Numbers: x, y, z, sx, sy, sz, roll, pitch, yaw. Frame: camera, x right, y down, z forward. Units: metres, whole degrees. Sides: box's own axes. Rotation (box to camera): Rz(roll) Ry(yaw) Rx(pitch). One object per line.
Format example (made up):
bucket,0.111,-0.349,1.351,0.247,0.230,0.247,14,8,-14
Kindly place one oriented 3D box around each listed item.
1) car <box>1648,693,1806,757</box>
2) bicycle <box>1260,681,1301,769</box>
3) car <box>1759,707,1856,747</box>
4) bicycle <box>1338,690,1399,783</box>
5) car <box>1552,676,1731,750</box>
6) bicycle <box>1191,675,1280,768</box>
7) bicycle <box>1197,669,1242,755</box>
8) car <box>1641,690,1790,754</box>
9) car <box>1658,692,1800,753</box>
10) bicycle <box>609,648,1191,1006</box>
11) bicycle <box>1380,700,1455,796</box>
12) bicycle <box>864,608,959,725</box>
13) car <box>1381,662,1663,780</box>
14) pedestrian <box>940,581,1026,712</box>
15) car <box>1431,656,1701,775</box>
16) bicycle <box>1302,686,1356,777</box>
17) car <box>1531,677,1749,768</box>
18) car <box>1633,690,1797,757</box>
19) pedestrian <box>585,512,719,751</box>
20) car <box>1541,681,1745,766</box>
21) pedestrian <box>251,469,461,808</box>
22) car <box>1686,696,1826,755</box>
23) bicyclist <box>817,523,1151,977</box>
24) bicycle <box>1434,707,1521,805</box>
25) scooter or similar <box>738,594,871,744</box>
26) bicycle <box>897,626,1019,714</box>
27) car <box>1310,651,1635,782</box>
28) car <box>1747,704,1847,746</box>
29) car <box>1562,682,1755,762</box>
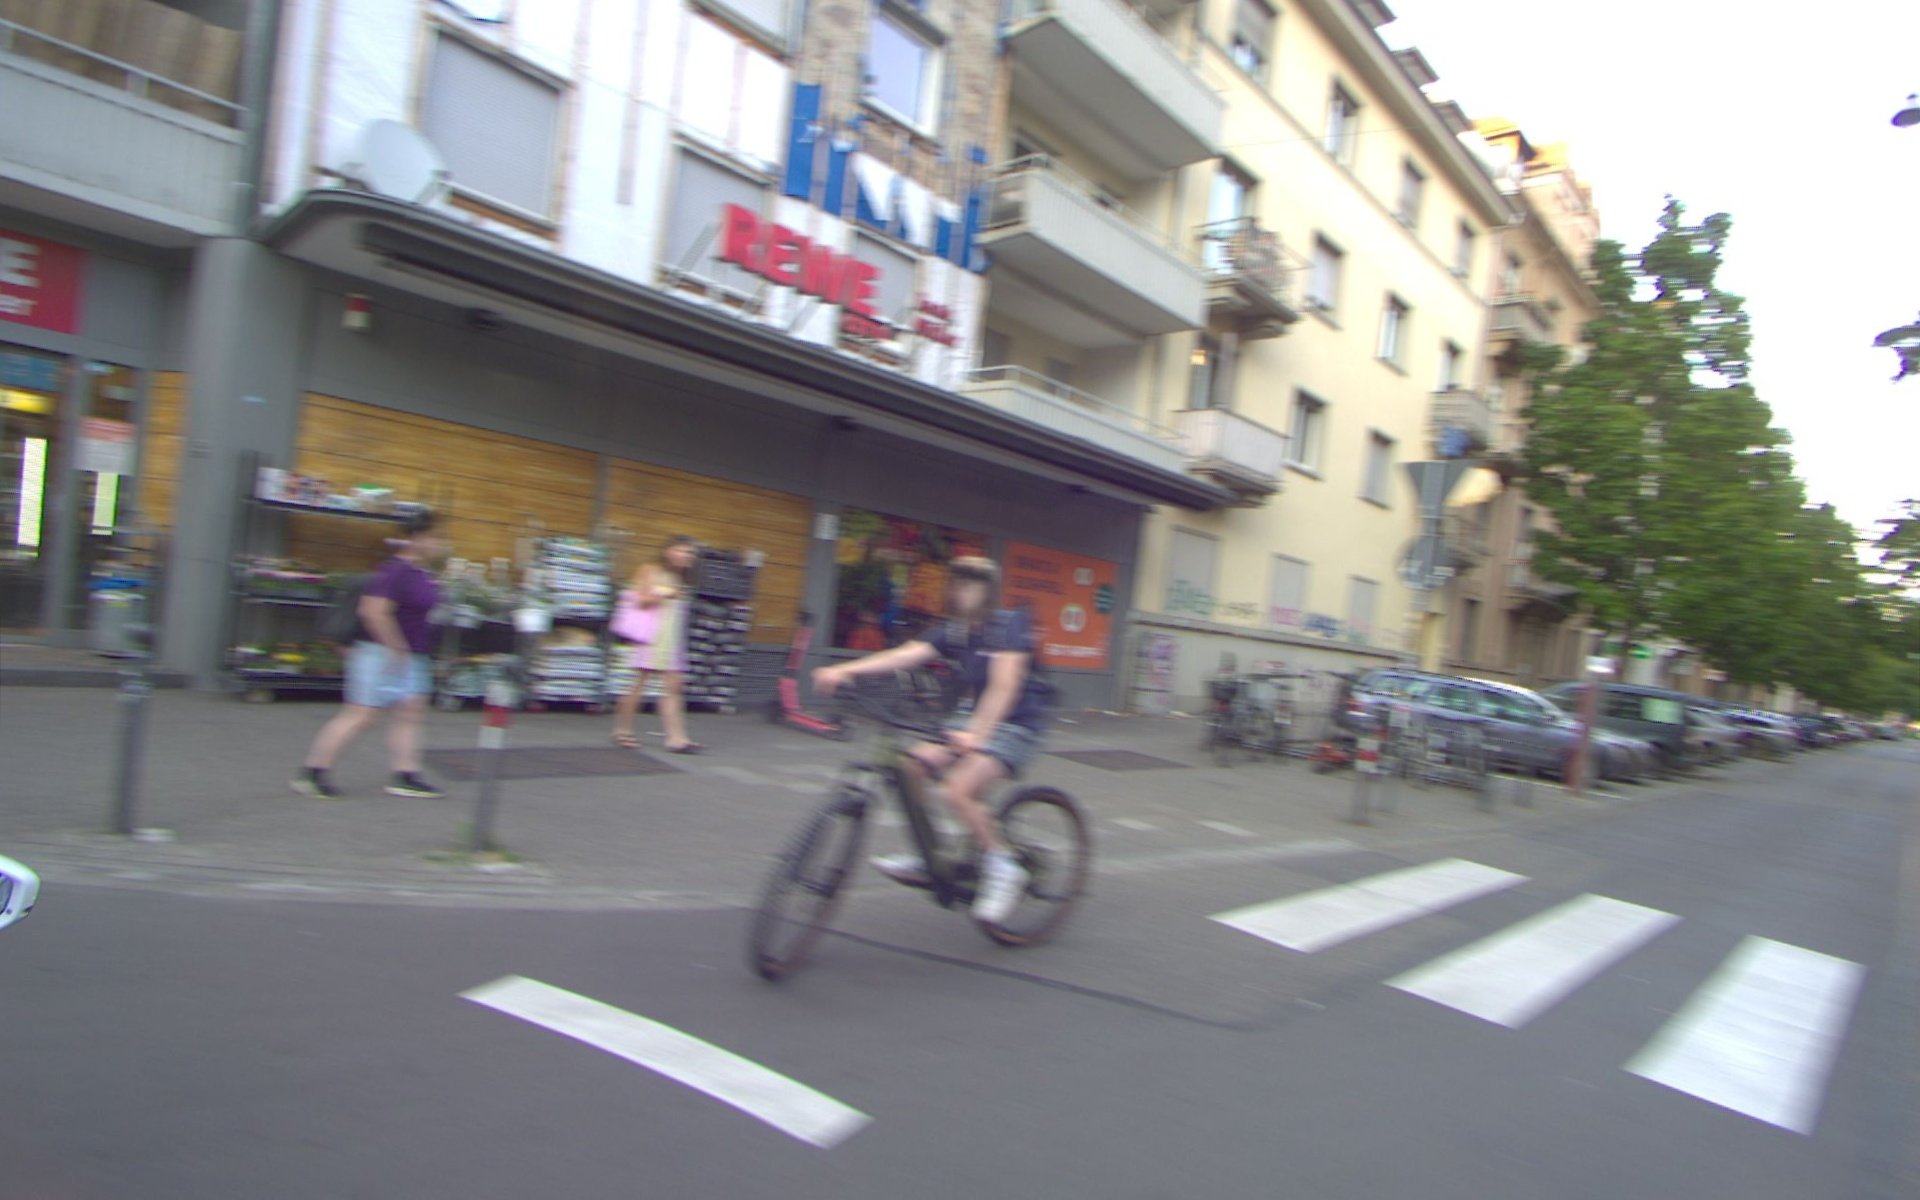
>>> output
car,30.055,4.869,39.598,4.463,1.806,2.000,6,-2,24
bicycle,4.275,1.619,13.399,0.371,1.038,2.017,6,-2,18
car,55.276,8.253,65.722,4.470,1.955,1.997,6,-2,32
bicycle,5.300,1.736,13.122,0.482,1.038,2.017,6,-2,18
car,23.012,3.795,34.126,4.457,1.806,2.002,7,-1,9
bicycle,3.405,1.489,12.327,0.372,1.038,1.657,6,-2,37
bicycle,3.541,1.481,13.647,0.371,1.038,2.017,6,-2,18
car,31.331,5.035,41.887,4.463,1.955,2.000,6,-1,24
car,33.629,5.309,44.160,4.463,1.955,2.000,6,-1,24
bicycle,-0.161,0.883,4.226,2.264,1.086,0.784,8,0,-35
bicycle,5.938,1.881,13.137,0.482,1.038,2.018,6,-2,16
bicycle,-0.613,0.750,11.996,0.344,1.217,1.799,7,-1,-25
car,10.805,2.283,19.631,4.467,1.544,1.998,6,-2,30
pedestrian,0.305,0.609,13.266,0.661,1.620,0.710,7,-1,-40
car,12.722,2.386,21.489,4.460,1.806,2.001,6,-1,19
bicycle,4.833,1.683,13.245,0.482,1.038,2.017,6,-2,18
car,18.712,3.342,27.874,4.458,1.806,2.002,7,-1,7
car,28.237,4.579,37.827,4.463,1.806,2.000,6,-2,24
pedestrian,-2.431,0.246,7.911,0.659,1.746,0.716,7,-1,-32
car,20.188,3.621,29.950,4.457,1.806,2.002,7,-1,9
pedestrian,-3.258,0.215,5.507,0.708,1.671,0.710,7,-1,-22
car,35.958,5.651,45.617,4.463,1.955,2.000,6,-1,24
bicyclist,0.095,0.595,4.365,0.989,1.710,0.784,7,1,-35
bicycle,6.612,1.956,12.938,0.482,1.038,2.018,6,-2,16
scooter or similar,-1.560,0.661,9.971,1.268,1.282,0.321,8,0,35
bicycle,0.007,0.972,13.653,0.373,1.038,1.873,6,-2,43
car,8.641,1.932,17.367,4.458,1.544,2.002,7,-2,7
car,53.052,7.909,63.879,4.470,1.955,1.997,6,-2,32
car,21.954,3.814,31.808,4.457,1.806,2.002,7,-1,9
